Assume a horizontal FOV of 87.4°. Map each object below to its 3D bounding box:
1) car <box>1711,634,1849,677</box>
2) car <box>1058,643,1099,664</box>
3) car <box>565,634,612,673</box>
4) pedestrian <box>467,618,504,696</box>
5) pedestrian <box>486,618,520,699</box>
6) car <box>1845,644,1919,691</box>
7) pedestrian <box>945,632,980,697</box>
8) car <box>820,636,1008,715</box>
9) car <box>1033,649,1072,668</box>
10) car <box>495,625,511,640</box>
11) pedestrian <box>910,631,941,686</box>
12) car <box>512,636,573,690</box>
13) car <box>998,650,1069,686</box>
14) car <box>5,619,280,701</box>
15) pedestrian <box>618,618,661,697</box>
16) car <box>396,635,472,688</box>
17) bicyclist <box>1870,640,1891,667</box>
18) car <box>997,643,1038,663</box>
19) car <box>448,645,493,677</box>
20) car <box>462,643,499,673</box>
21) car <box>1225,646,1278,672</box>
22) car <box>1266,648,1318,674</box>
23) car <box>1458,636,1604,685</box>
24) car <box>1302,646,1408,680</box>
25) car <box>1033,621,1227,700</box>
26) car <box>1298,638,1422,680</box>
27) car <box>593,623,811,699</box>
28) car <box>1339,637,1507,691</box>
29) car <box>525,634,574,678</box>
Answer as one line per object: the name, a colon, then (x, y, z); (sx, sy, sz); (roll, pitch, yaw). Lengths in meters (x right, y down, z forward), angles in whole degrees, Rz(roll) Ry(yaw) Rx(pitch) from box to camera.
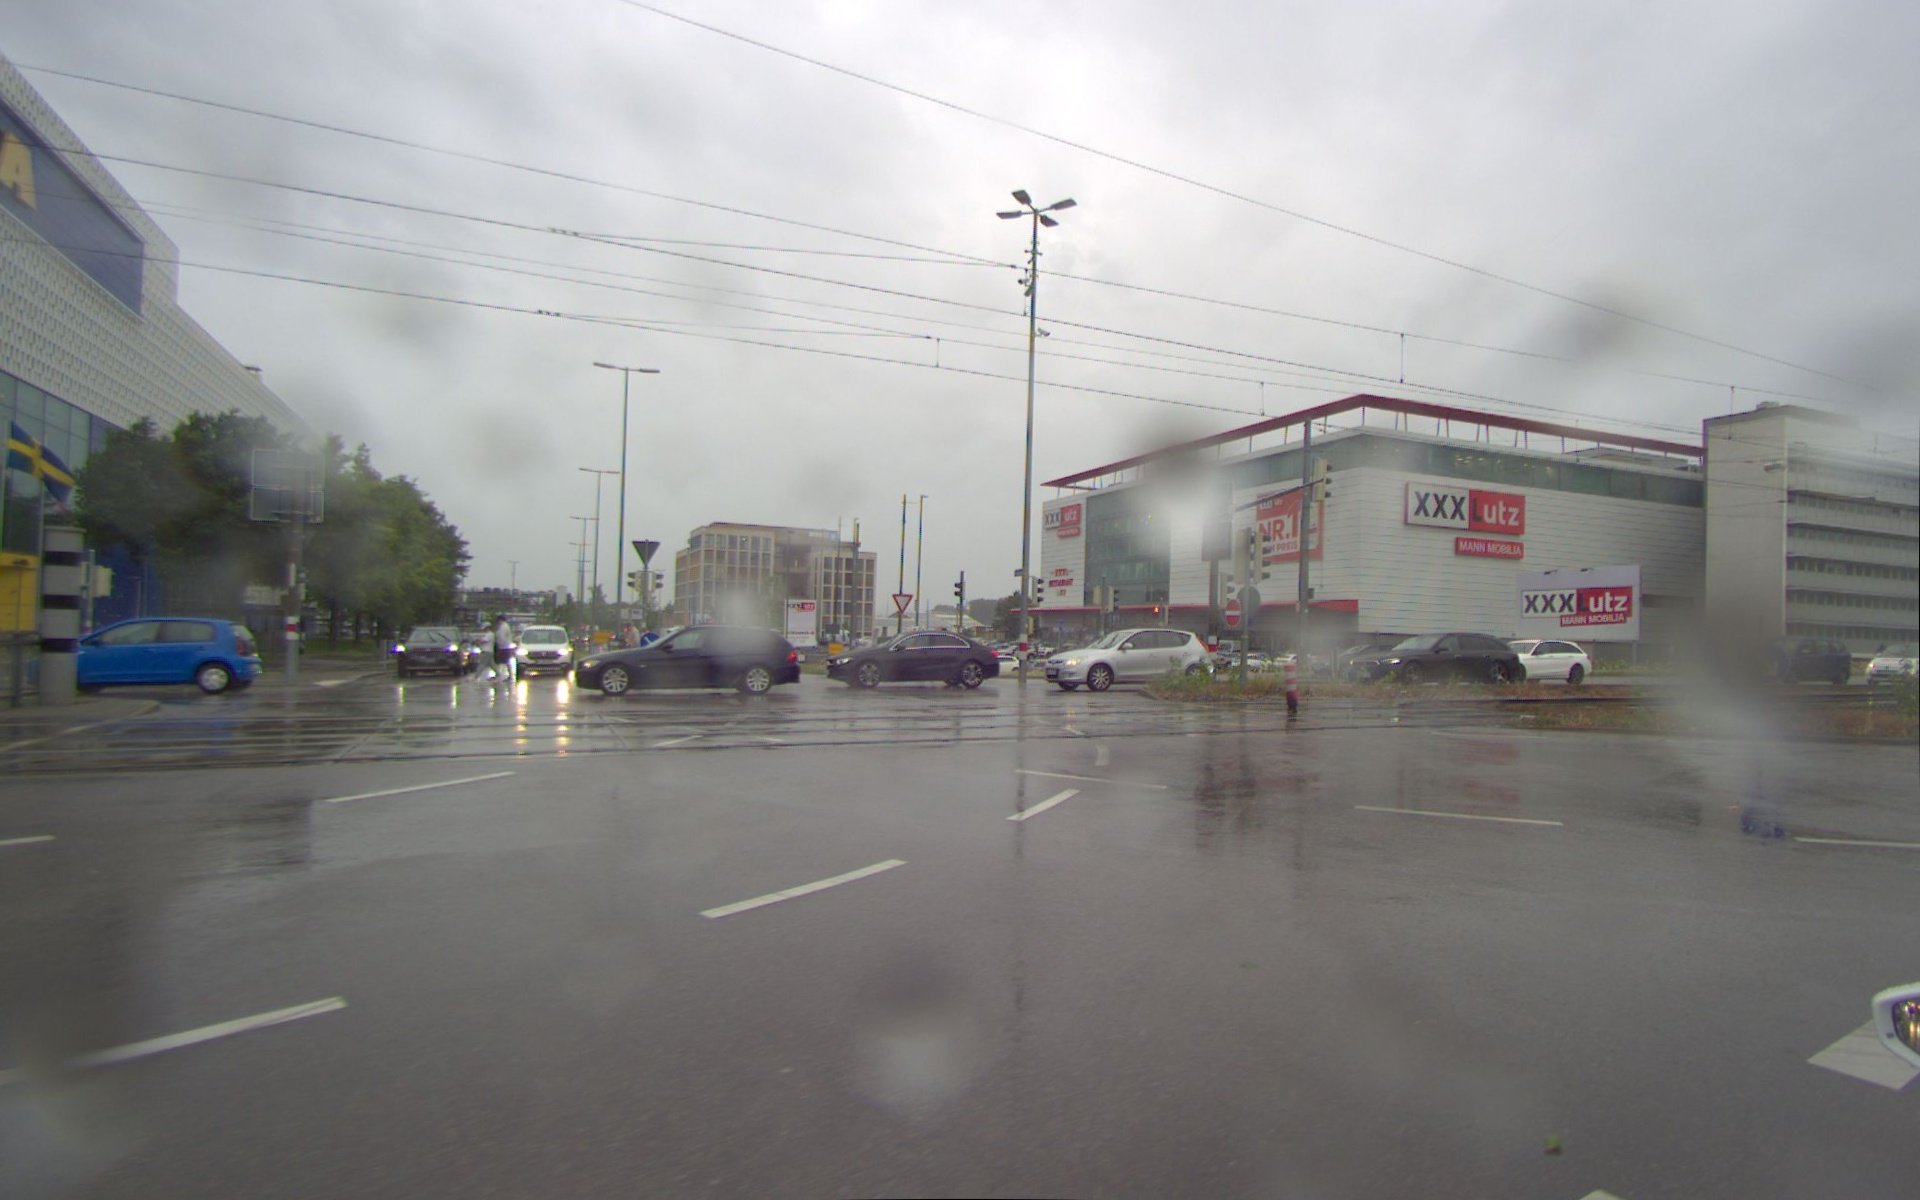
car: (27.117, 1.800, 33.207); (4.399, 1.266, 1.708); (1, 1, -24)
car: (12.767, 5.738, 108.088); (3.949, 2.040, 1.986); (2, 1, -27)
car: (-18.507, 2.627, 49.949); (1.972, 1.625, 4.087); (2, 0, -23)
pedestrian: (-12.848, 1.536, 27.198); (0.615, 2.041, 0.695); (1, 1, 7)
pedestrian: (-12.621, 1.602, 27.764); (0.620, 2.164, 0.572); (1, 1, 7)
car: (34.231, 2.400, 36.240); (3.985, 1.556, 1.710); (1, 1, -20)
pedestrian: (0.075, 2.108, 32.916); (0.848, 2.040, 0.690); (2, 0, -32)
car: (-1.195, 1.926, 25.706); (4.431, 1.817, 1.804); (2, 0, -20)
car: (10.596, 6.712, 115.281); (3.949, 2.040, 1.986); (2, 1, -27)
car: (-69.134, 4.929, 151.920); (1.971, 2.040, 3.978); (2, 0, -22)
pedestrian: (-1.184, 2.005, 34.752); (0.760, 1.842, 0.710); (2, 0, -31)
car: (-14.206, 2.077, 34.280); (1.793, 1.561, 4.440); (1, 0, -22)
car: (4.627, 4.277, 63.264); (3.949, 2.040, 1.986); (2, 1, -27)
car: (-15.771, 1.124, 19.623); (3.859, 1.433, 1.578); (1, 1, -23)
pedestrian: (-9.652, 1.730, 30.294); (0.972, 2.274, 0.919); (4, 1, -11)
car: (-17.398, 1.996, 33.401); (1.793, 1.561, 4.267); (1, -1, -22)
bicyclist: (57.588, 3.352, 62.810); (0.781, 1.611, 0.669); (2, 1, -24)
car: (5.875, 5.438, 102.594); (3.858, 1.930, 1.810); (2, 0, -29)
car: (-26.035, 3.216, 53.520); (1.793, 1.561, 4.267); (1, -1, -22)
car: (-29.762, 3.573, 62.434); (1.793, 1.561, 4.266); (1, 1, -22)
car: (24.446, 4.950, 84.230); (3.949, 2.040, 1.986); (2, 1, -27)
car: (28.567, 5.244, 86.447); (3.949, 2.040, 1.986); (2, 1, -27)
car: (19.154, 2.000, 33.684); (4.645, 1.455, 1.808); (1, 1, -23)
car: (16.599, 2.617, 42.236); (3.985, 1.266, 1.710); (1, 1, -20)
car: (4.104, 1.406, 24.251); (4.362, 1.731, 1.709); (1, 1, -21)
car: (13.590, 1.976, 34.131); (3.855, 1.266, 1.580); (1, 1, -20)
car: (-5.250, 1.197, 20.485); (4.136, 1.385, 1.580); (1, 1, -20)
car: (12.318, 1.658, 26.748); (3.985, 1.266, 1.710); (1, 1, -20)
car: (-17.347, 2.299, 42.497); (1.793, 1.561, 4.359); (1, 1, -22)
